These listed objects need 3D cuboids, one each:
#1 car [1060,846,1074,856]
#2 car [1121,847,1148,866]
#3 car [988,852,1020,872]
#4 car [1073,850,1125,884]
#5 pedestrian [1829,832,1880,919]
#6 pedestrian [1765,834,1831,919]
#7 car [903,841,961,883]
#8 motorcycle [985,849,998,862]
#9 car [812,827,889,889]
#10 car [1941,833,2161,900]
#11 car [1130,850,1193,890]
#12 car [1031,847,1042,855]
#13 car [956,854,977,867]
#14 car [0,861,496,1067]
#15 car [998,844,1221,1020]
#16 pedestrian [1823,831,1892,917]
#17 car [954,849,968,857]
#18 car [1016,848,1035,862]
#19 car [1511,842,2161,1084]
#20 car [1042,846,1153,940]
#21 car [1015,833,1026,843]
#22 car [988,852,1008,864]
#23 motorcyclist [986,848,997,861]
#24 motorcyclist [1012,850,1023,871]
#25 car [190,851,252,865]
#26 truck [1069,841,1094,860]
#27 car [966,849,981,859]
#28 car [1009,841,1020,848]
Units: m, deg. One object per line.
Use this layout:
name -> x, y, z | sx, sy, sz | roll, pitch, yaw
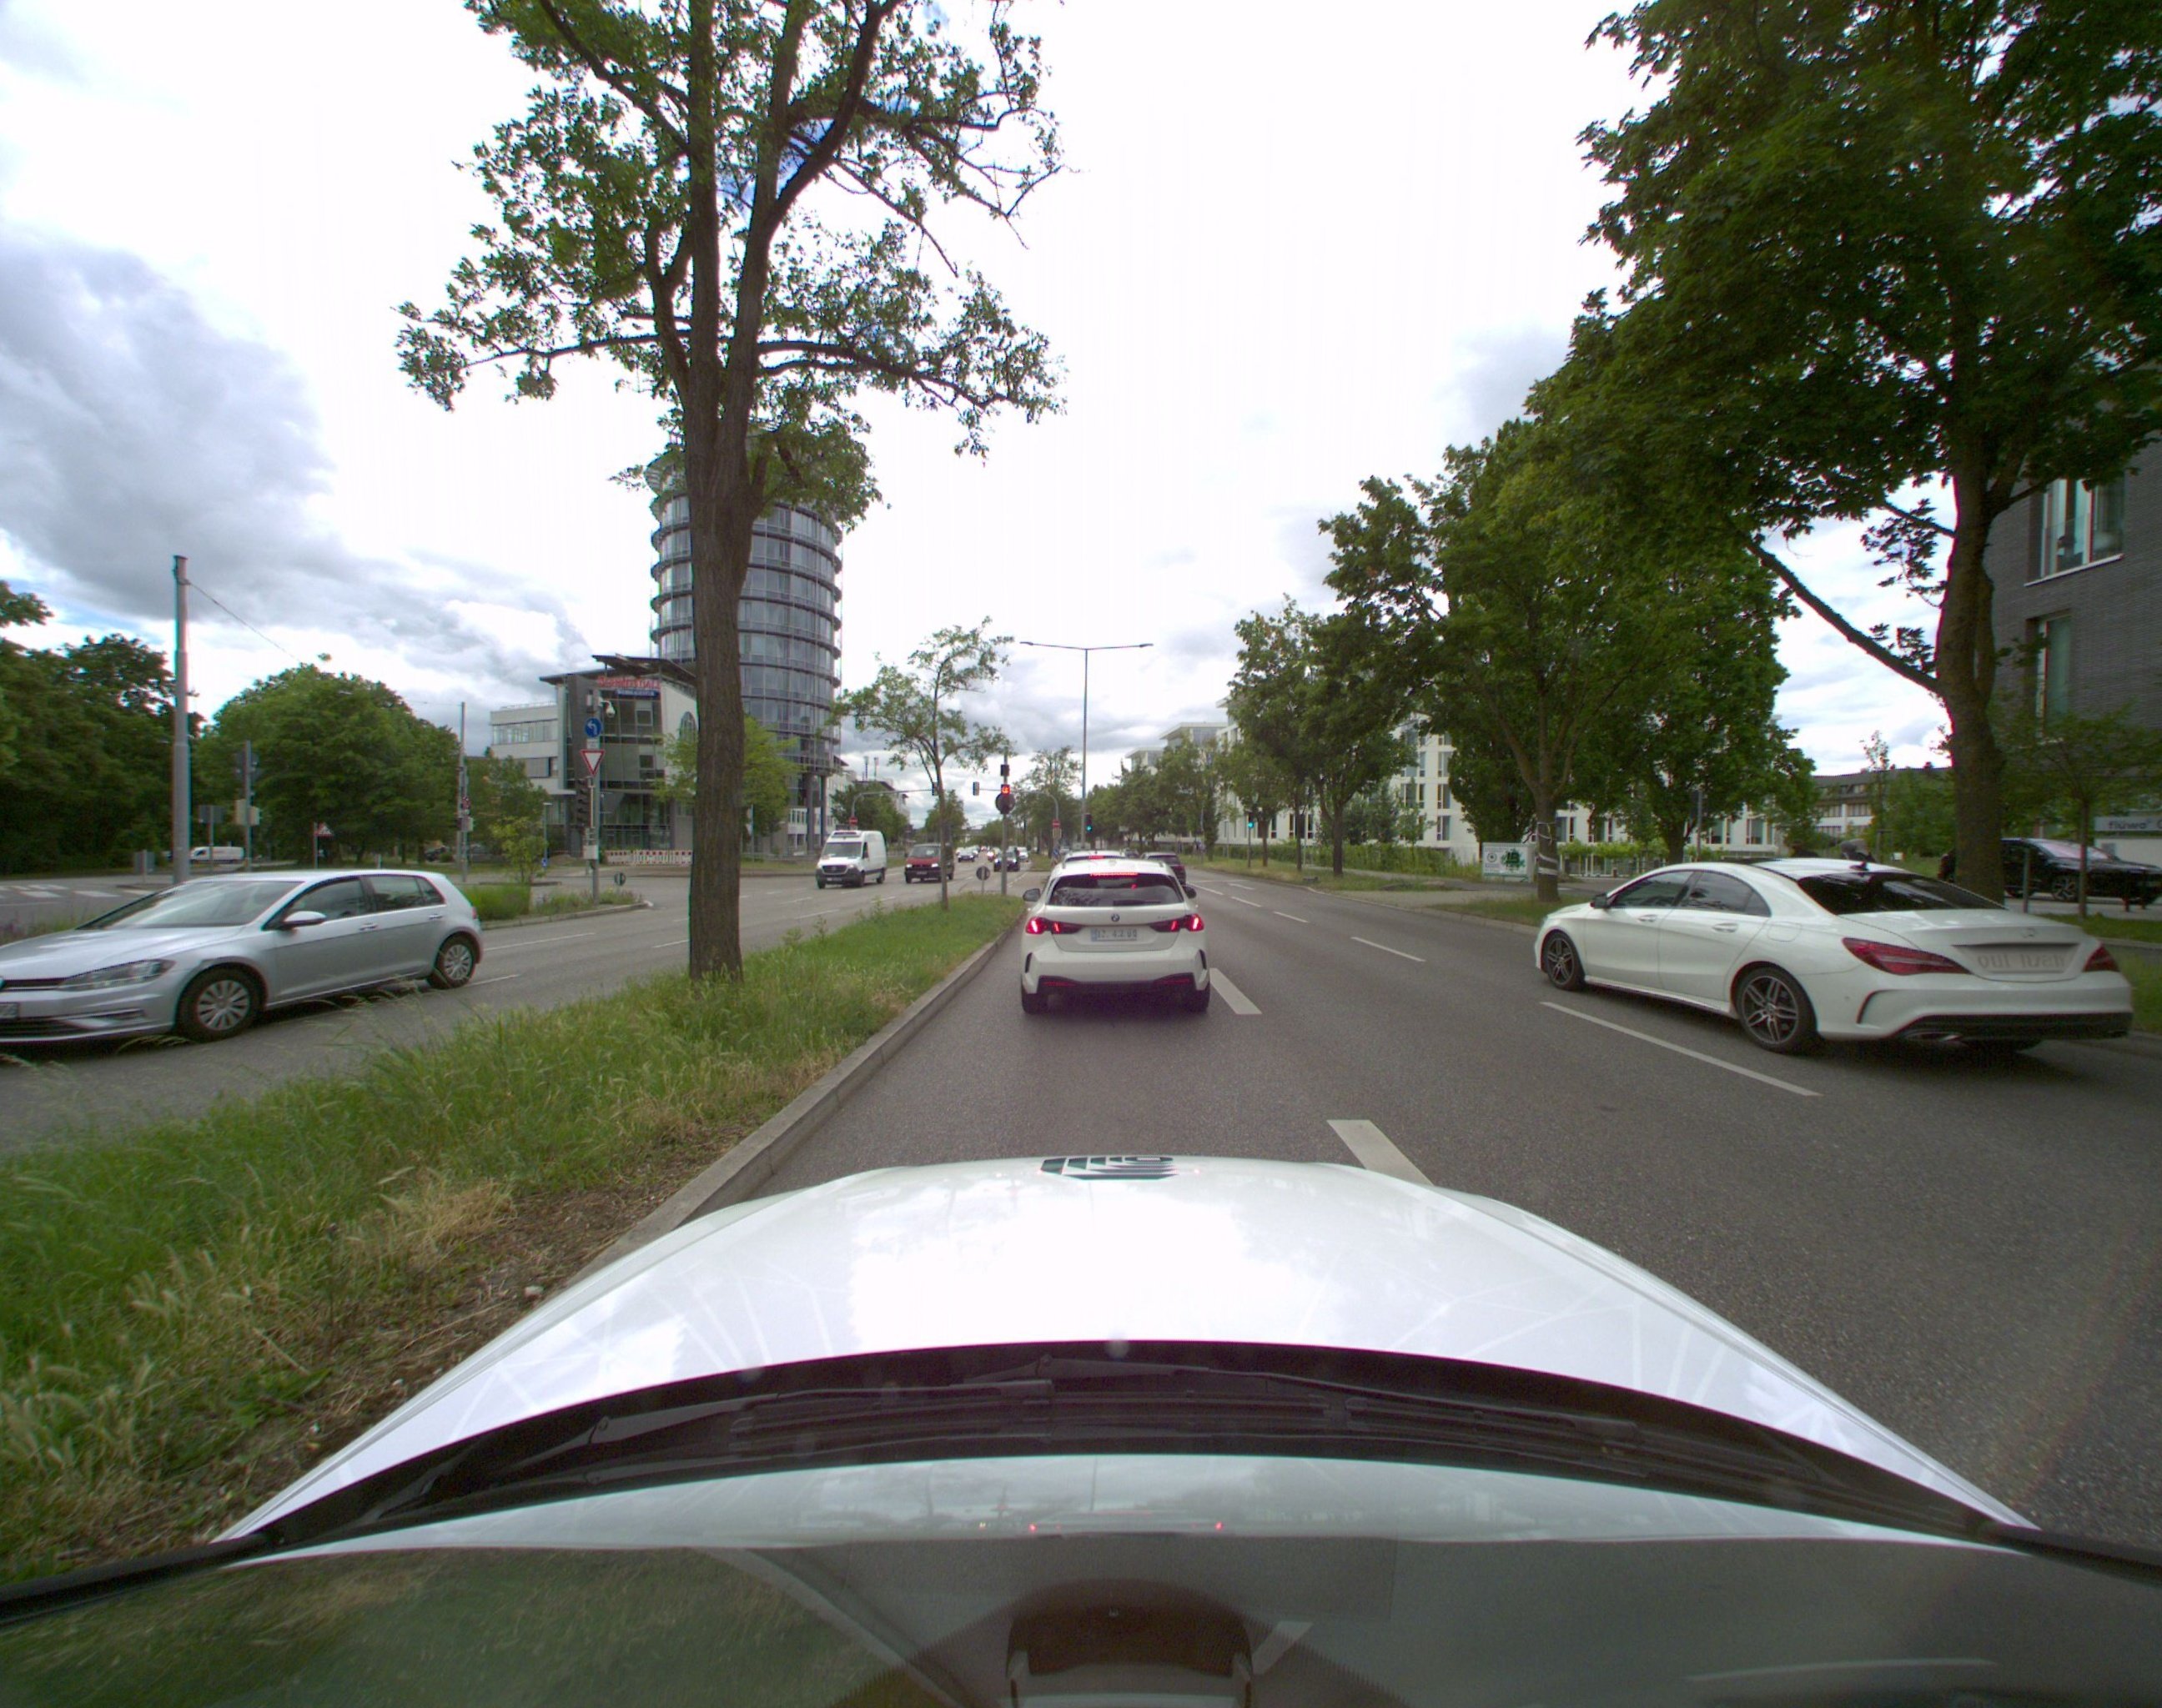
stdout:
car -> -2.337, -0.503, 134.316 | 1.991, 1.508, 3.993 | 0, 0, -5
car -> 4.822, 0.218, 73.522 | 1.989, 1.596, 3.996 | 0, 0, -3
car -> -5.404, 0.528, 57.616 | 1.747, 1.371, 3.781 | -1, 0, 2
car -> 0.892, 0.581, 37.977 | 1.983, 1.508, 4.008 | 0, 0, 7
pedestrian -> 14.213, 0.396, 14.968 | 0.407, 1.552, 0.563 | 2, -1, 7
pedestrian -> 13.398, 0.407, 15.234 | 0.721, 1.552, 0.588 | 0, 0, 7
car -> -7.572, 0.355, 41.882 | 1.928, 1.917, 4.976 | 0, 2, 2
motorcycle -> -9.737, 0.155, 88.917 | 0.886, 1.398, 4.002 | 0, 0, 2
car -> -10.770, 0.160, 38.525 | 1.988, 2.634, 5.872 | 2, 0, -1
car -> 25.038, 0.283, 20.846 | 1.817, 1.552, 4.183 | 0, 0, 4
car -> 3.205, 0.605, 33.459 | 2.047, 1.486, 4.972 | -1, 0, 0
car -> -8.796, -0.576, 162.701 | 1.988, 1.490, 3.999 | 1, 0, -1
car -> -12.804, 0.753, 91.296 | 1.701, 1.419, 3.804 | -1, 0, 2
car -> -8.162, 0.843, 8.080 | 1.748, 1.444, 4.133 | -1, 0, -1
car -> 0.381, 0.656, 8.783 | 1.855, 1.449, 4.004 | 0, 0, 4
pedestrian -> 14.345, 0.365, 15.065 | 0.586, 1.552, 0.745 | 0, 0, 7
car -> -21.368, -0.242, 144.892 | 1.701, 1.419, 3.804 | -1, 0, 2
car -> -6.032, 0.085, 89.090 | 1.701, 1.497, 3.804 | -1, 0, 2
car -> 5.985, 0.681, 7.352 | 1.787, 1.472, 4.699 | 0, 0, 1
car -> 0.381, 0.709, 16.605 | 1.985, 1.672, 4.002 | 0, 0, 2
car -> -13.041, -3.354, 175.510 | 1.988, 2.010, 4.322 | 2, 0, -1
car -> -10.128, 0.490, 99.426 | 1.986, 1.354, 4.002 | 0, 0, 2
motorcyclist -> -9.755, 0.095, 88.668 | 0.906, 1.392, 1.674 | 0, 0, 2
motorcyclist -> -5.620, 0.570, 72.108 | 0.845, 1.837, 1.260 | 0, 0, 1
car -> -127.728, 0.583, 121.038 | 1.977, 2.013, 6.012 | 0, 0, 19
truck -> 0.001, -0.485, 115.877 | 2.856, 2.519, 6.272 | 0, 0, -7
car -> -16.278, 0.020, 123.337 | 1.701, 1.419, 3.804 | -1, 0, 2
car -> -15.761, -2.260, 192.619 | 1.986, 1.618, 4.002 | 2, 0, 2
